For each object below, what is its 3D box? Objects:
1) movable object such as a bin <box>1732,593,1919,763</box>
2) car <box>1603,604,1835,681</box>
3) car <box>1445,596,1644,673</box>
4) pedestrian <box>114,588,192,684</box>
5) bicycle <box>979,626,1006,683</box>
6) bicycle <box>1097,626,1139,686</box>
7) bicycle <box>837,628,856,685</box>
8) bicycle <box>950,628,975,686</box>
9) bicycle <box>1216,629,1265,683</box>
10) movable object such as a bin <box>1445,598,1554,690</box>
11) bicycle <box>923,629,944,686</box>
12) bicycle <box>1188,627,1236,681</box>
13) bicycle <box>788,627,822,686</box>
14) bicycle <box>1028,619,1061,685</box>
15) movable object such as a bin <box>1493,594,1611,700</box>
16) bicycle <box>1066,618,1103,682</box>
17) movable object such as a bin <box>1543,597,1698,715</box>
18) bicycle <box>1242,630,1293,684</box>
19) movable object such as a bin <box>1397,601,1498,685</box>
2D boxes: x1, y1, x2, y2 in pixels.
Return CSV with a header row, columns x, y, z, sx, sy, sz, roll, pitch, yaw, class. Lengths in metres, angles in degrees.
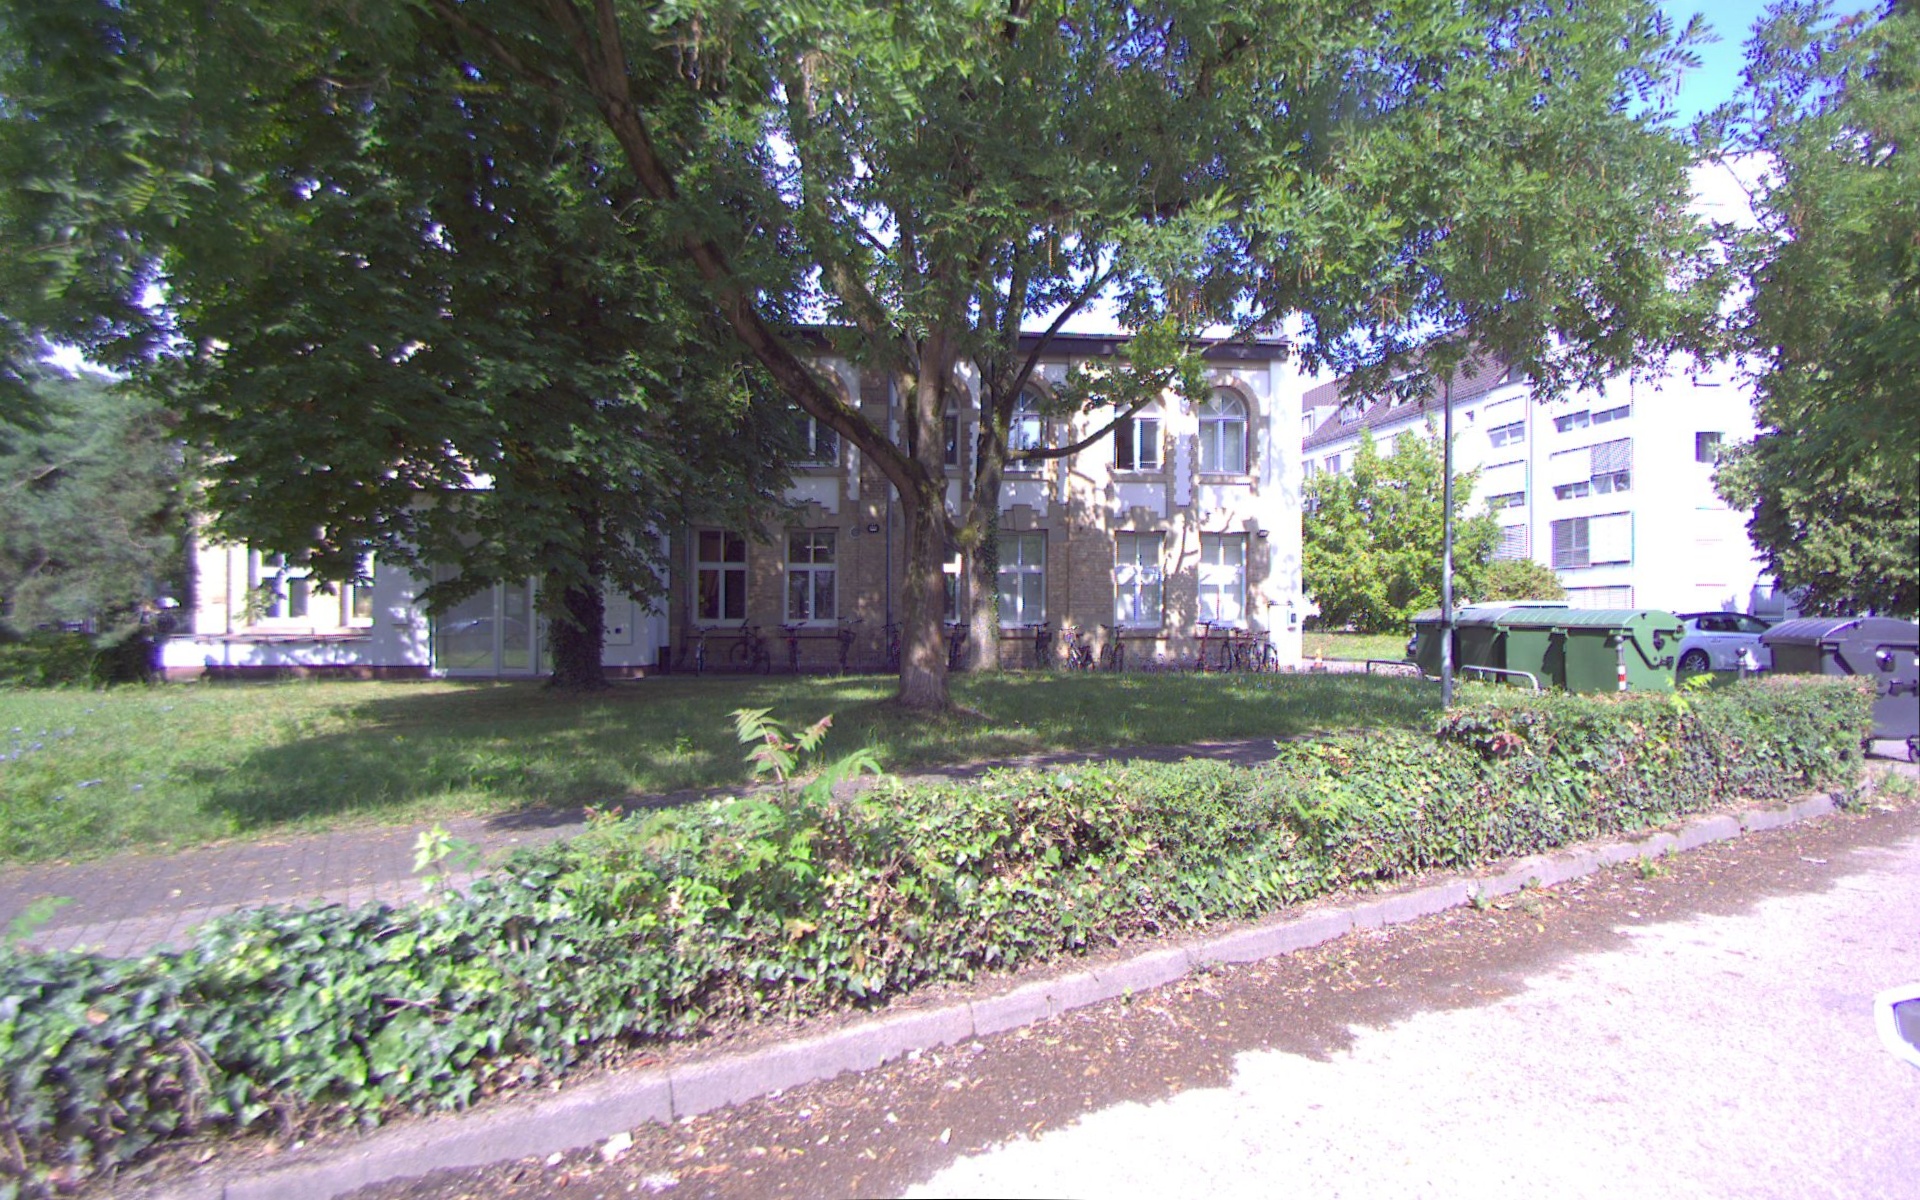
x,y,z,sx,sy,sz,roll,pitch,yaw,class
9.210,0.770,10.513,1.225,1.502,1.296,6,5,15,movable object such as a bin
16.494,0.906,21.937,3.843,1.439,1.757,2,1,-6,car
17.594,1.023,30.393,4.860,1.990,1.999,3,-1,-4,car
-15.299,0.669,19.058,0.758,1.700,0.807,5,2,-6,pedestrian
0.711,1.171,22.180,0.412,1.070,2.066,5,2,-1,bicycle
3.488,1.217,22.305,0.351,1.158,1.857,5,2,-6,bicycle
-2.435,1.197,21.609,0.314,1.051,1.857,5,1,-6,bicycle
0.041,1.227,22.110,0.412,1.070,2.066,5,2,-1,bicycle
6.294,1.244,22.614,0.314,1.051,1.857,5,1,-6,bicycle
9.033,0.714,16.862,0.930,1.367,1.231,5,2,-12,movable object such as a bin
-0.573,1.227,22.105,0.411,1.070,2.066,1,2,-1,bicycle
5.612,1.187,22.456,0.314,1.051,1.857,5,1,-6,bicycle
-3.271,1.172,21.318,0.411,1.070,2.066,1,2,-1,bicycle
1.845,1.114,22.138,0.412,1.138,2.066,5,5,-1,bicycle
9.118,0.706,15.523,0.865,1.471,1.231,5,2,-11,movable object such as a bin
2.753,1.073,22.360,0.412,1.231,2.066,5,2,-1,bicycle
9.292,0.758,14.192,1.084,1.471,1.339,5,2,-13,movable object such as a bin
6.880,1.258,22.563,0.314,1.051,1.857,5,1,-6,bicycle
8.935,0.765,18.479,0.930,1.367,1.378,5,2,-12,movable object such as a bin
